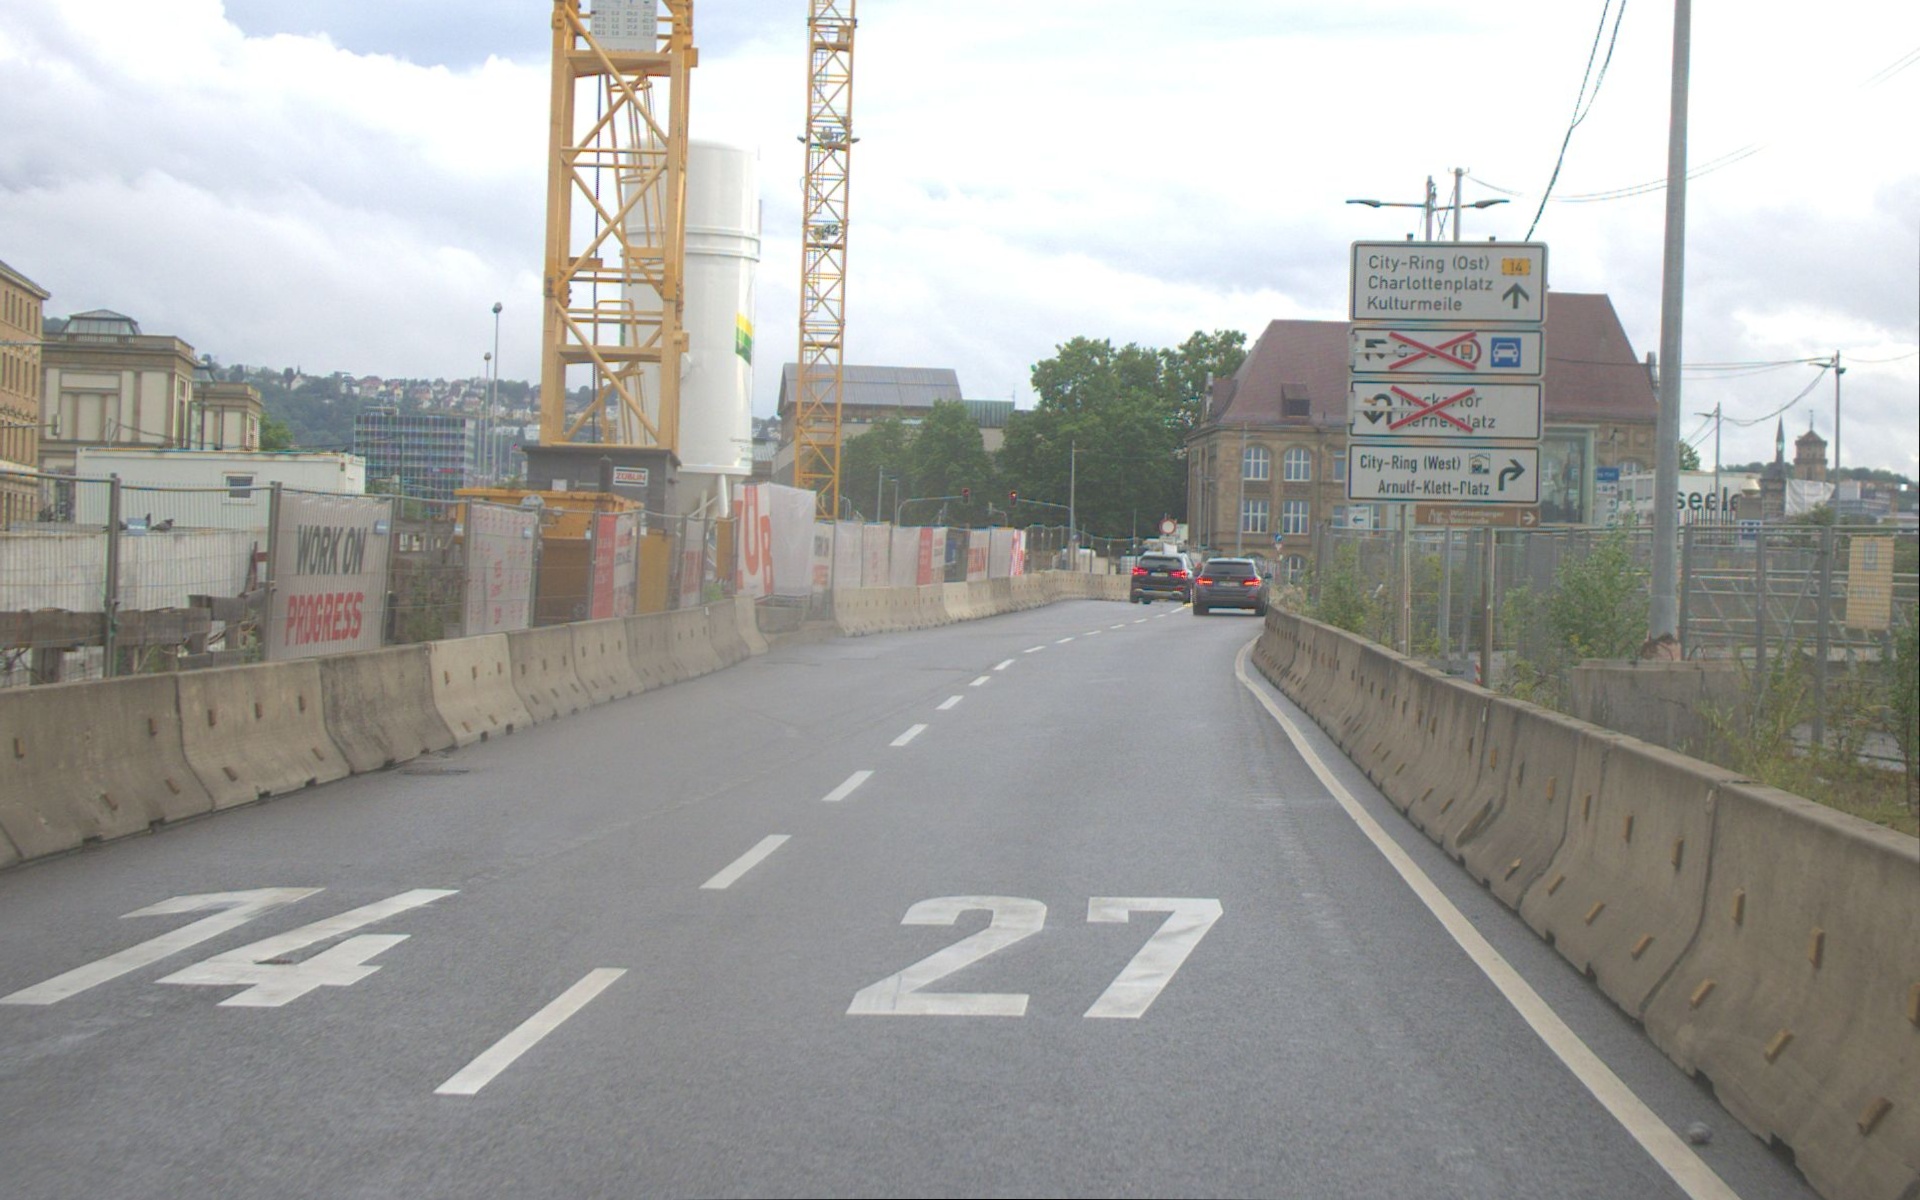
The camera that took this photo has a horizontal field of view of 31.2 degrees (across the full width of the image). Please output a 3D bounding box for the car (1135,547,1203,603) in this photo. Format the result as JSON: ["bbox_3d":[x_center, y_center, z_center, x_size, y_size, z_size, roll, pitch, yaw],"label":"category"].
[{"bbox_3d":[6.478,-0.795,106.137,1.863,1.655,4.655,2,1,5],"label":"car"}]

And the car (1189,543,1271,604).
[{"bbox_3d":[6.823,-0.669,87.231,1.863,1.428,4.656,3,0,3],"label":"car"}]
